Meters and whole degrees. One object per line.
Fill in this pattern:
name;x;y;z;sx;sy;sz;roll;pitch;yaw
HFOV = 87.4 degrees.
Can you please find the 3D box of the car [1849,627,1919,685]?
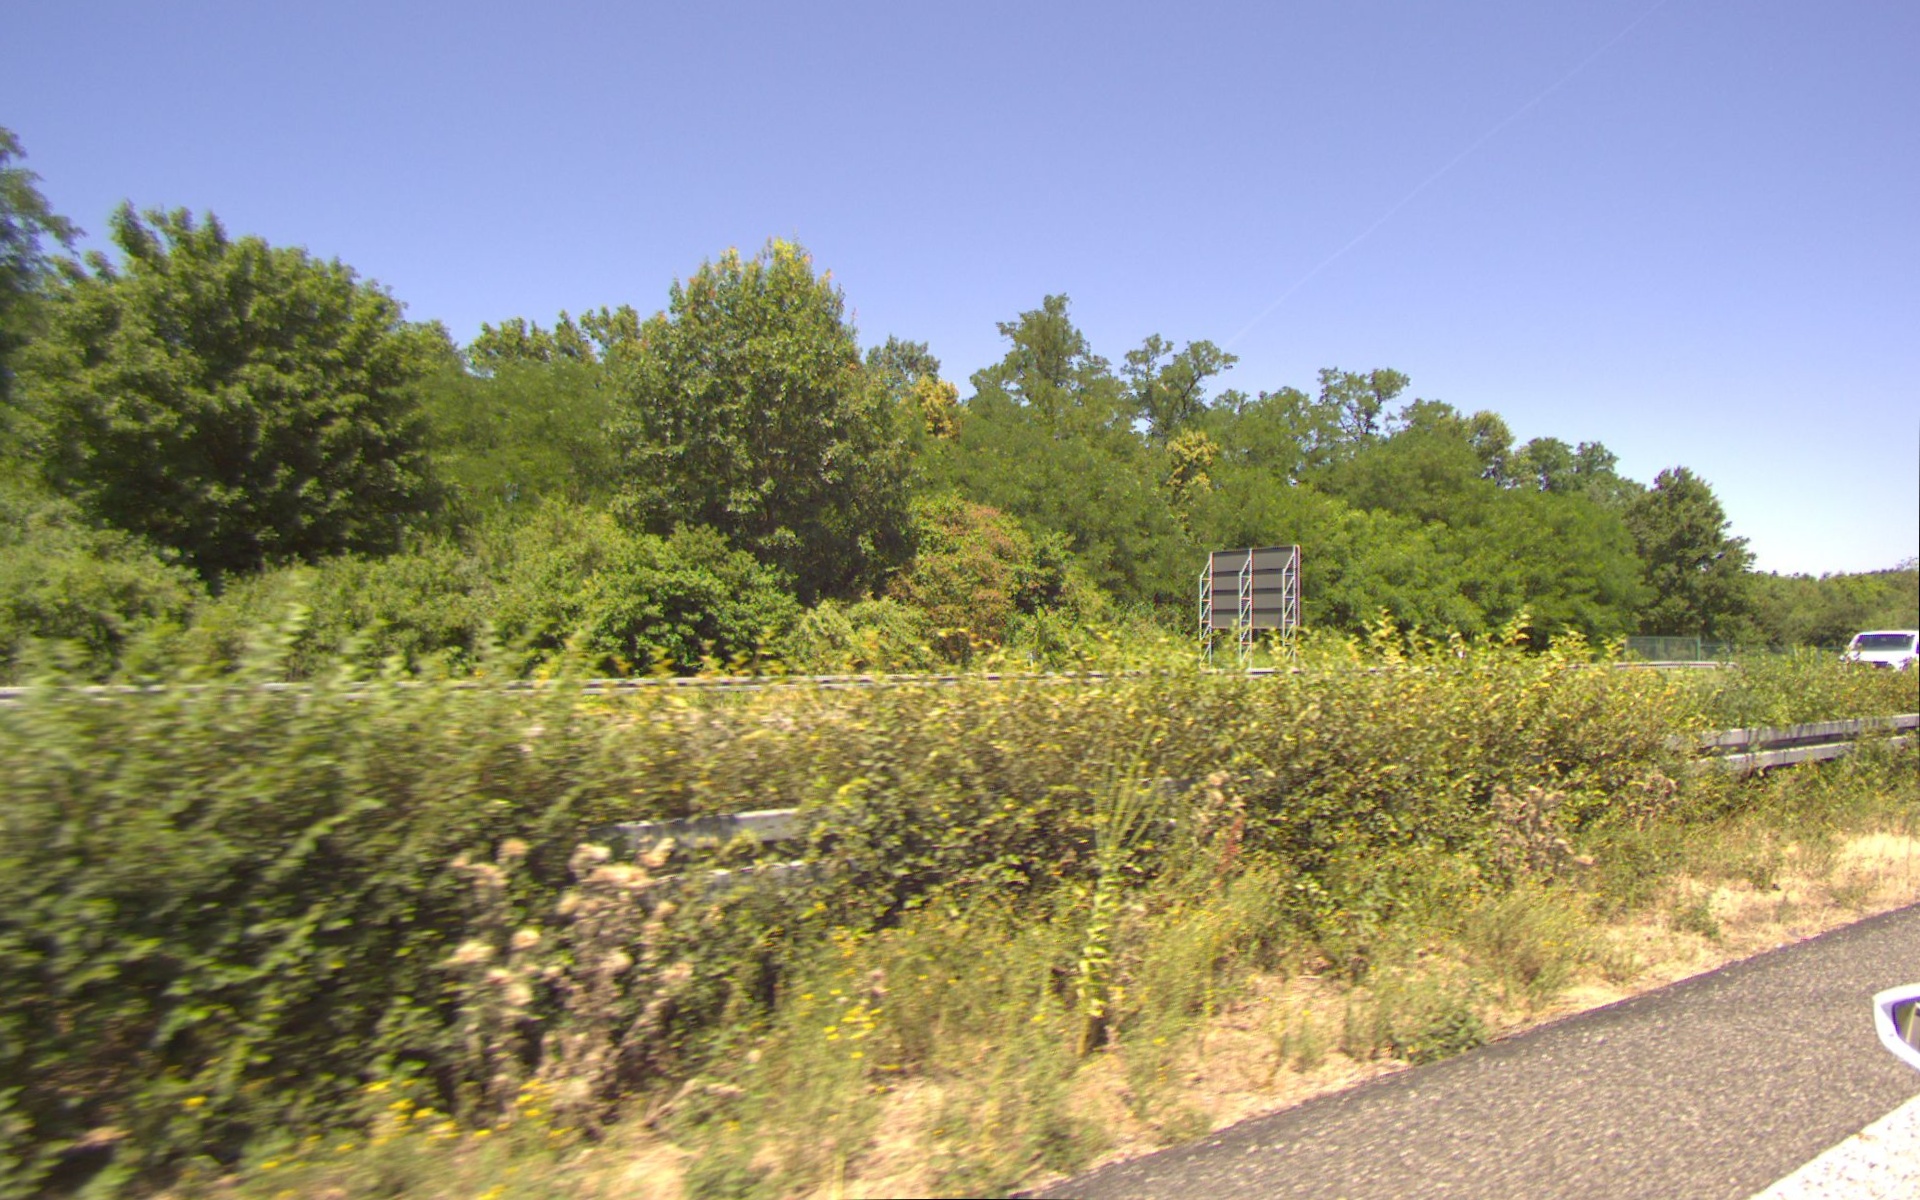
car;32.919;1.908;34.592;5.601;1.816;2.015;2;-1;-33
